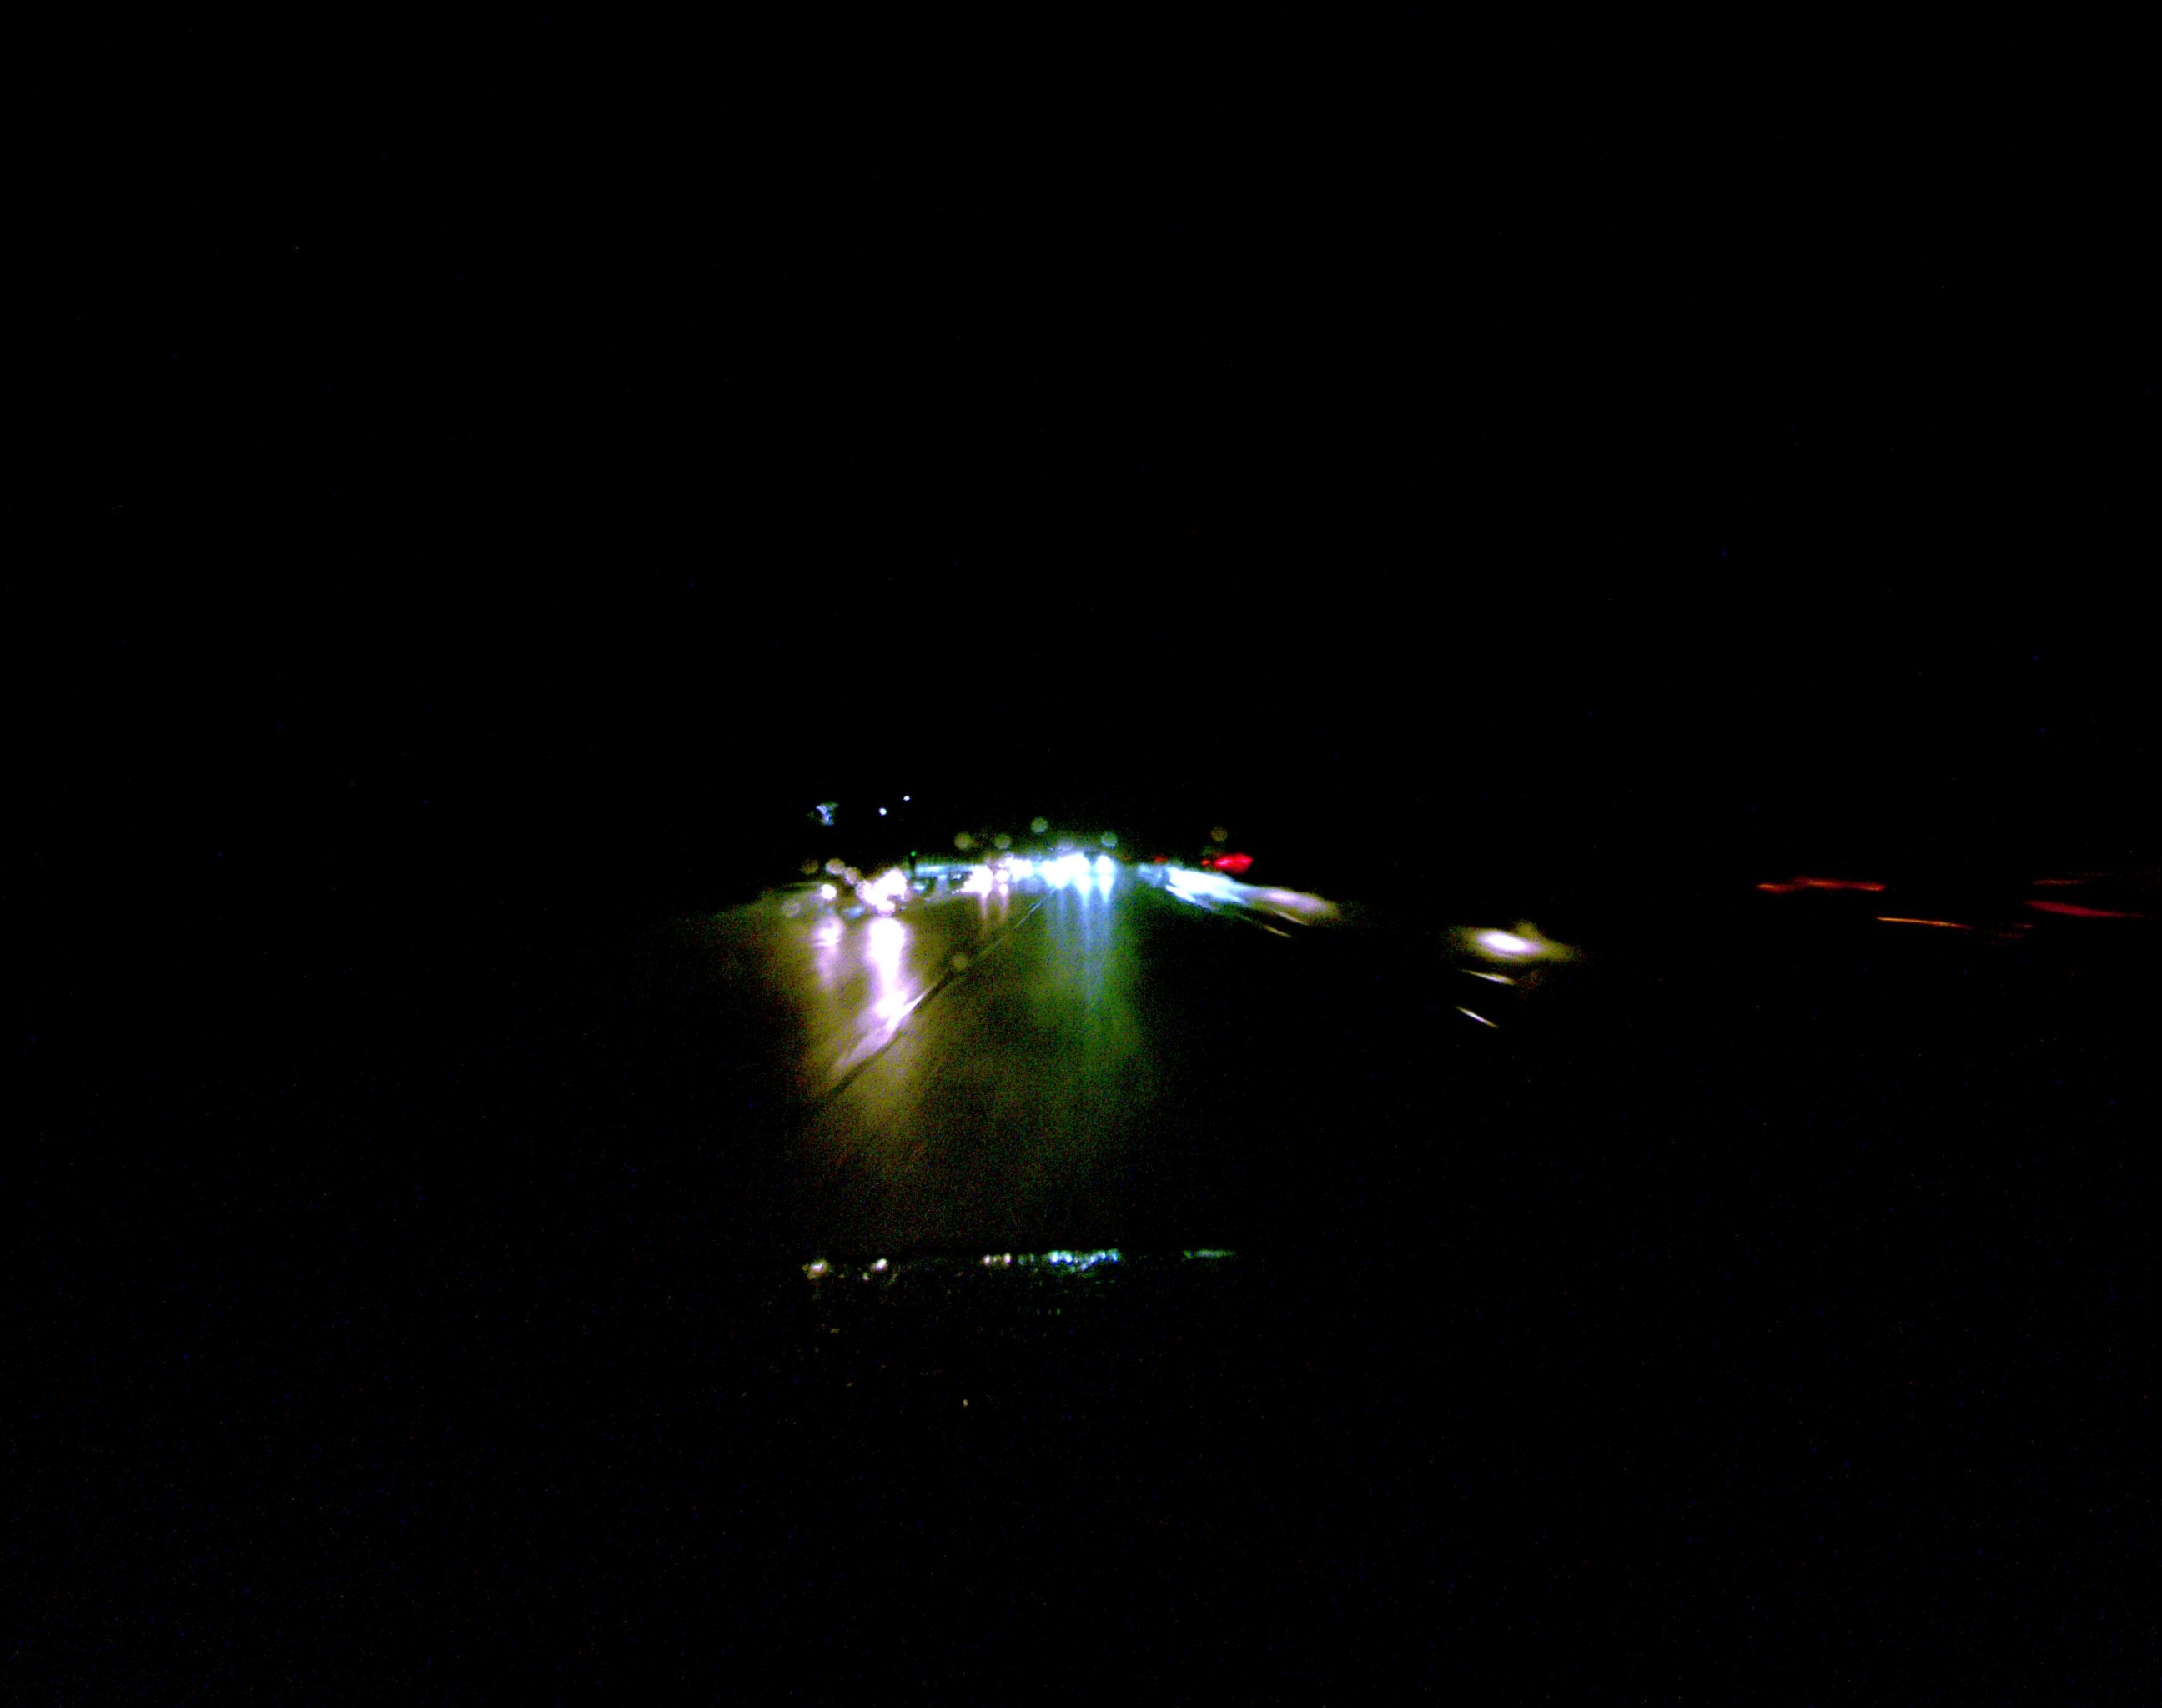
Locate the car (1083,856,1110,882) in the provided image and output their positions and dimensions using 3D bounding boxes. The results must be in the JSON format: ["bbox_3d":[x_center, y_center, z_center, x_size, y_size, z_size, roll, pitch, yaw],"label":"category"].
[{"bbox_3d":[1.293,1.176,61.067,1.998,2.002,4.000,-1,0,3],"label":"car"}]

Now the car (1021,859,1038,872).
[{"bbox_3d":[-7.219,1.600,106.571,1.998,1.615,4.625,-3,1,1],"label":"car"}]

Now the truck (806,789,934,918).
[{"bbox_3d":[-7.198,-0.049,26.751,2.782,3.946,5.197,-3,1,1],"label":"truck"}]

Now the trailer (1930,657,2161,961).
[{"bbox_3d":[17.363,-0.669,7.531,2.629,4.519,13.720,-3,1,1],"label":"trailer"}]

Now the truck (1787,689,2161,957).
[{"bbox_3d":[17.463,-0.562,14.523,2.611,4.089,5.678,-3,1,1],"label":"truck"}]

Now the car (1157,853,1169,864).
[{"bbox_3d":[15.978,0.828,148.207,1.998,2.002,3.999,-3,1,1],"label":"car"}]

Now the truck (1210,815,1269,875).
[{"bbox_3d":[17.967,-1.088,87.801,3.337,6.069,16.621,-3,1,1],"label":"truck"}]

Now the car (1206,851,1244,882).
[{"bbox_3d":[9.660,0.798,51.144,1.748,2.002,3.999,-1,0,-1],"label":"car"}]

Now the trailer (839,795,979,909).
[{"bbox_3d":[-7.085,-0.156,34.094,2.746,3.955,13.817,-3,1,1],"label":"trailer"}]

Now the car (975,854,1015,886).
[{"bbox_3d":[-5.755,1.050,51.300,1.998,2.002,4.000,-1,0,3],"label":"car"}]

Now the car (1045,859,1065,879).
[{"bbox_3d":[-2.883,1.597,84.697,1.998,2.002,3.999,-3,1,1],"label":"car"}]
